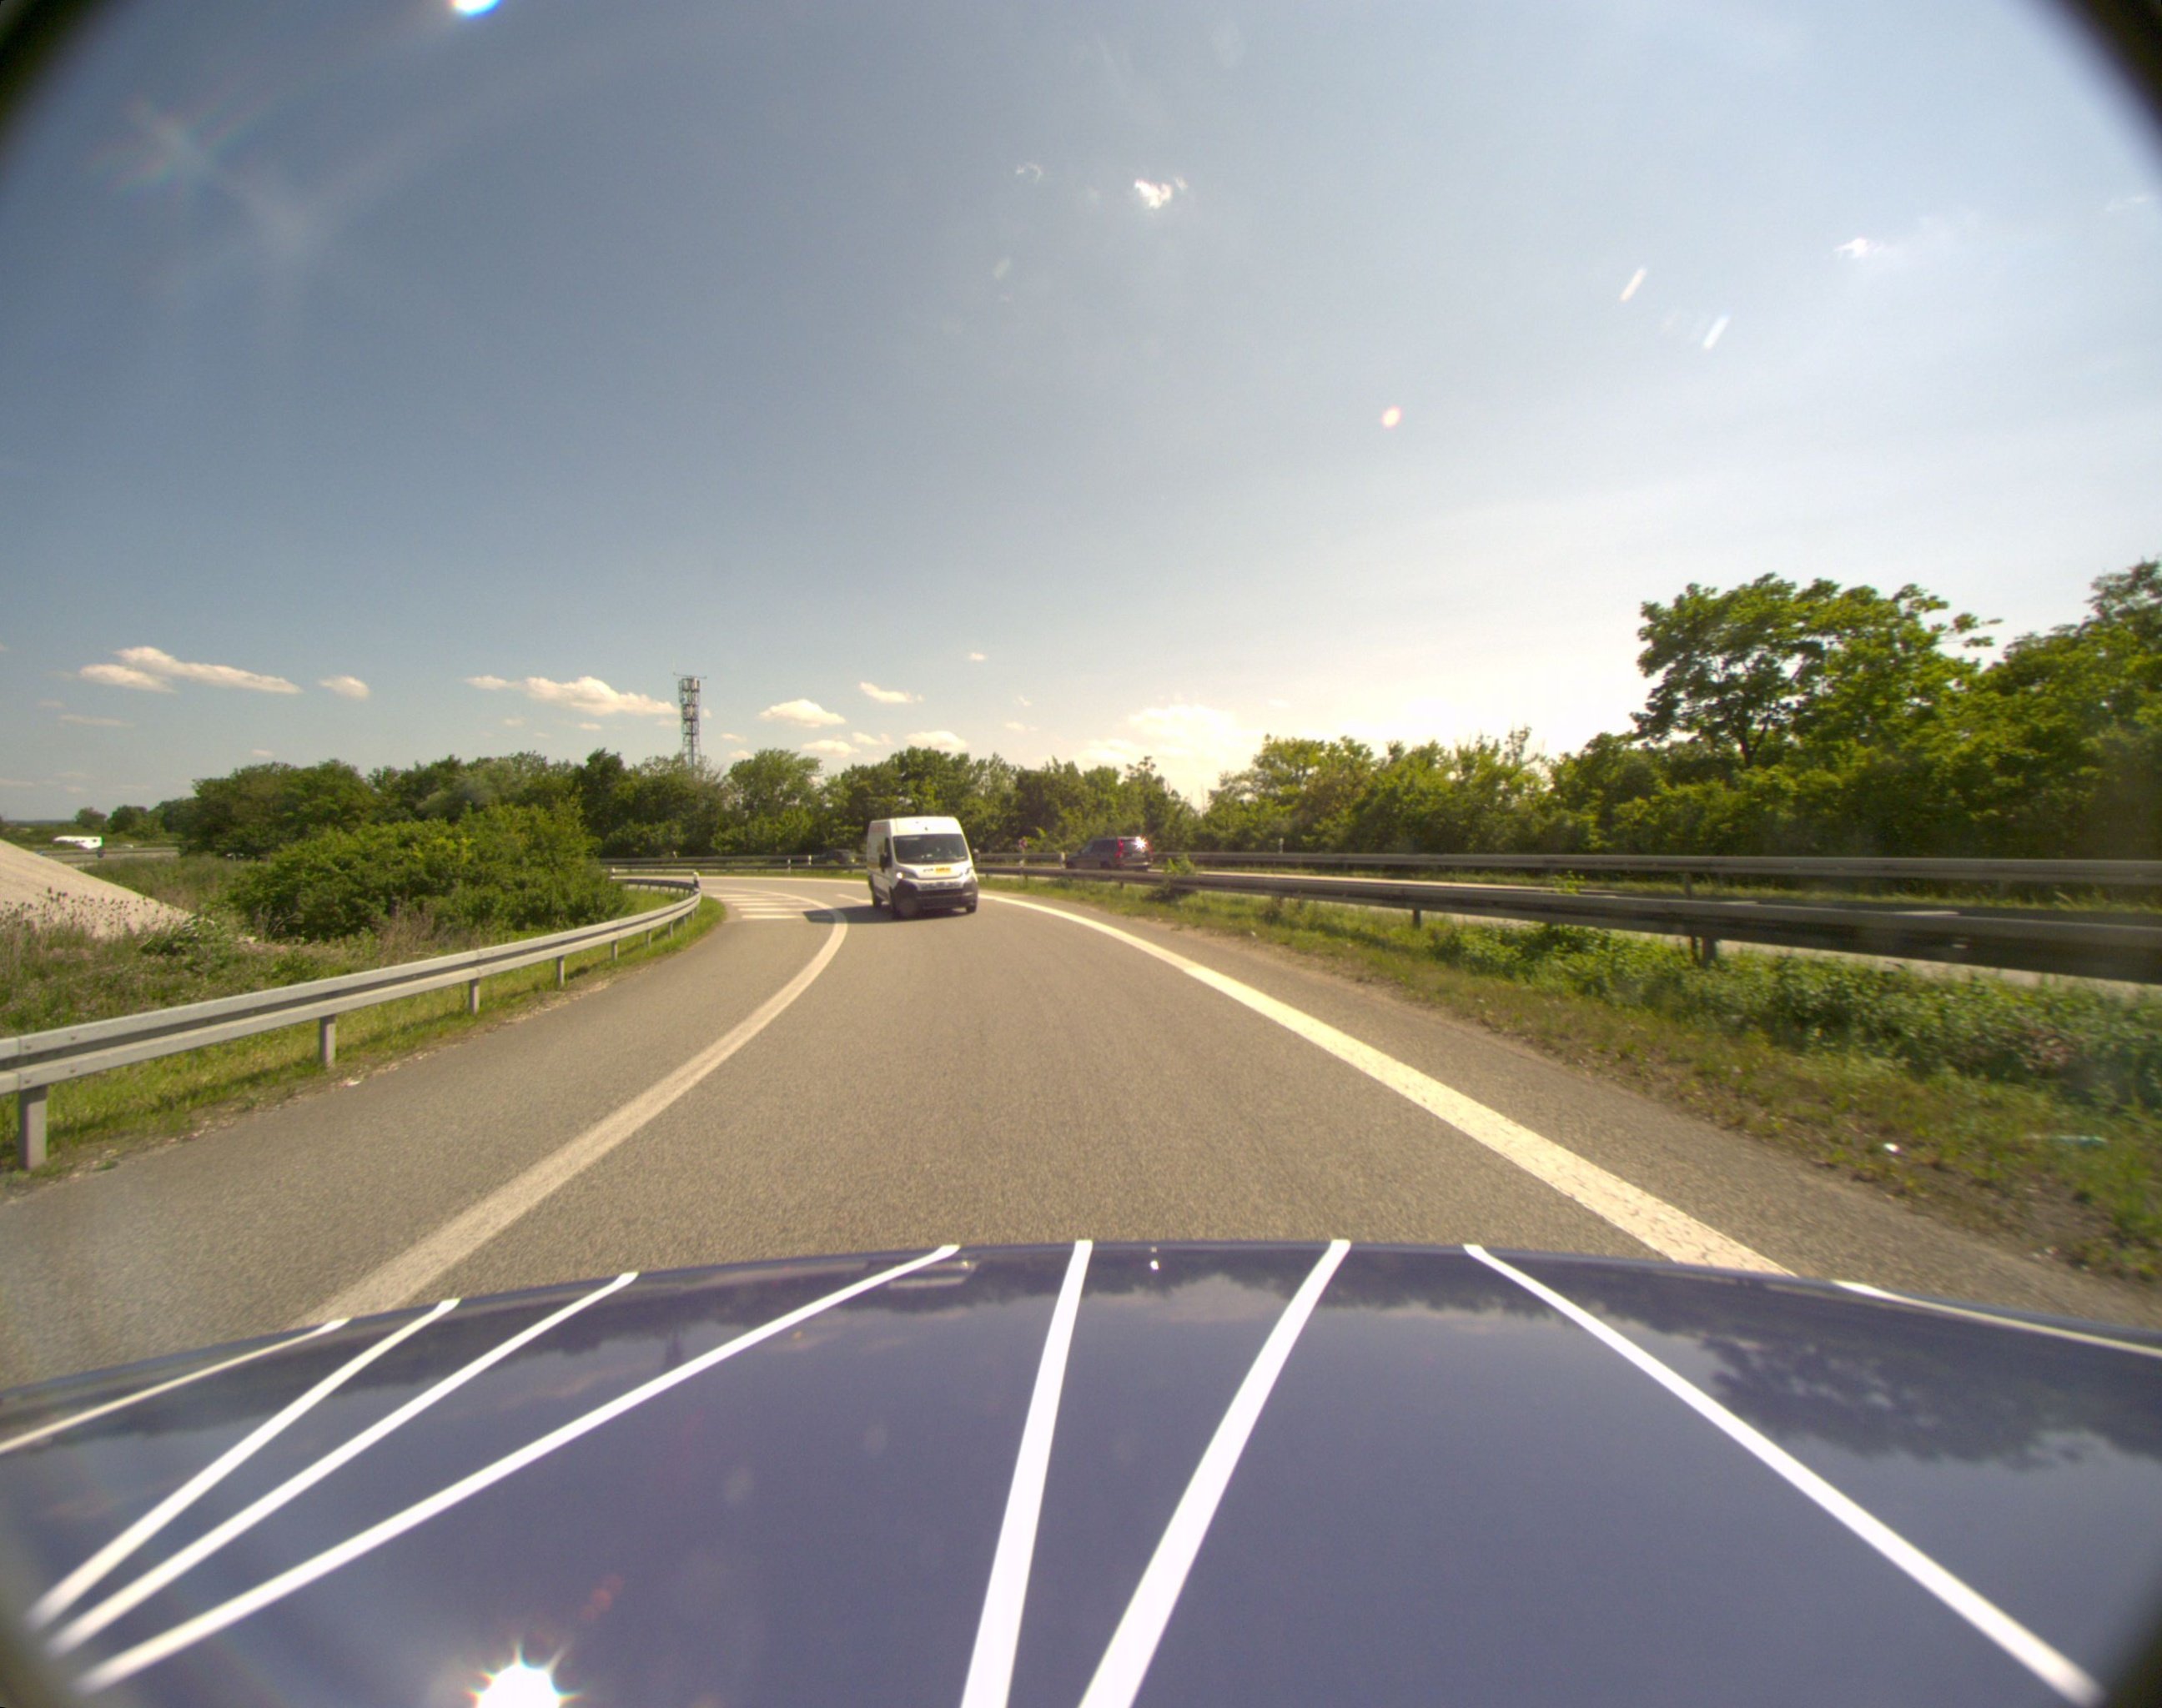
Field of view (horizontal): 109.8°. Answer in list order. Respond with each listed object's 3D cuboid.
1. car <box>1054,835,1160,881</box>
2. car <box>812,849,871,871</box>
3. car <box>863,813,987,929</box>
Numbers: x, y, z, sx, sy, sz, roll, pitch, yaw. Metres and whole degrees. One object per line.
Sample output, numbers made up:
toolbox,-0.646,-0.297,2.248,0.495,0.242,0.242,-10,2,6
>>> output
car,0.972,0.160,32.389,2.003,1.721,5.185,-3,1,-30
car,-17.496,0.446,55.422,4.689,1.440,1.802,-1,2,40
car,-4.384,0.280,20.400,2.090,2.510,6.223,-4,3,-21
